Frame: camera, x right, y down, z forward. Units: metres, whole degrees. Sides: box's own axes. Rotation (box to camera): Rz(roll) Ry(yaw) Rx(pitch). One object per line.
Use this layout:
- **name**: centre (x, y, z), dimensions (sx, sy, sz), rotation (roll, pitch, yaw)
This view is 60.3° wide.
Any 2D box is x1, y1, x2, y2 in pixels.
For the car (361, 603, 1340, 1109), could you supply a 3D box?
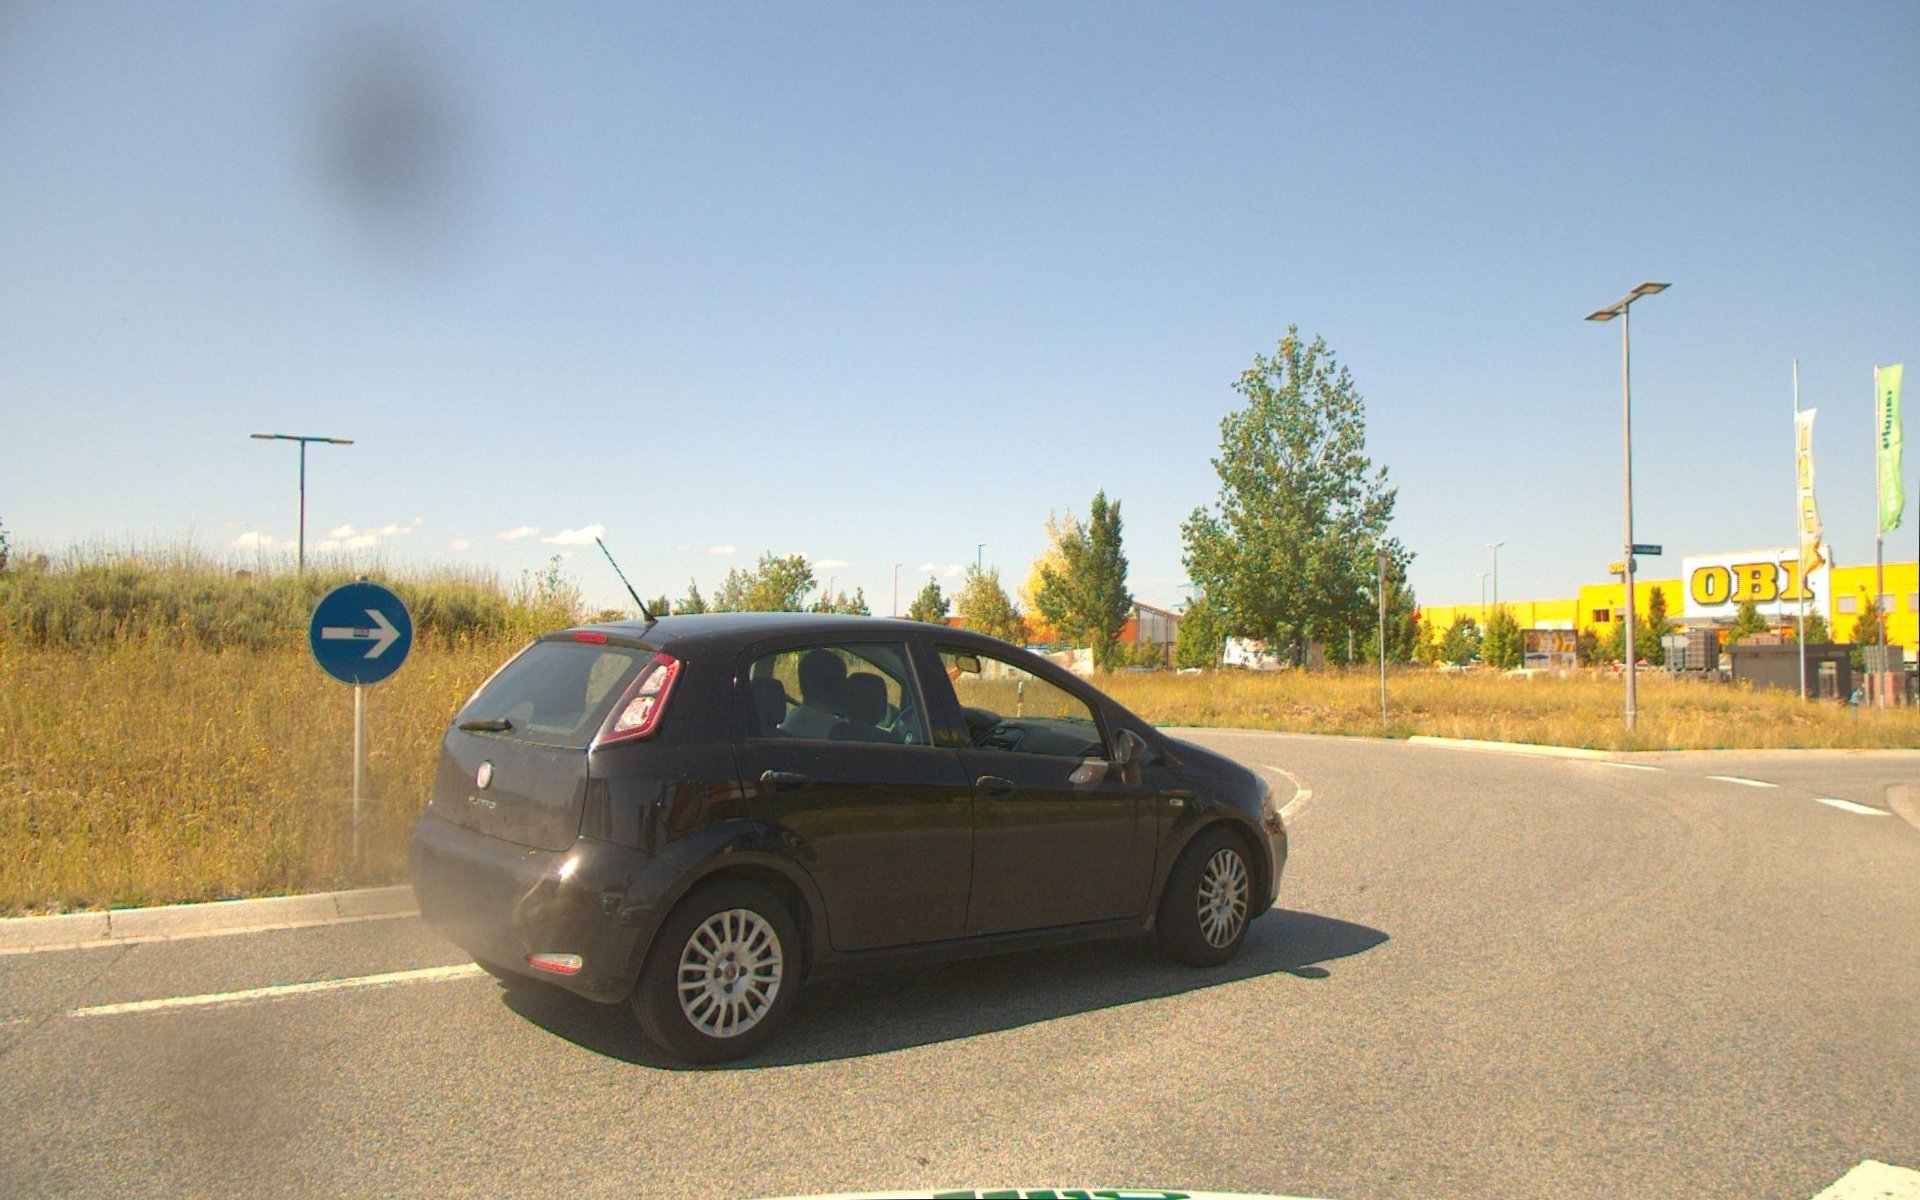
- **car**: centre (-0.264, 0.790, 6.848), dimensions (3.868, 1.514, 1.621), rotation (1, -1, -40)
